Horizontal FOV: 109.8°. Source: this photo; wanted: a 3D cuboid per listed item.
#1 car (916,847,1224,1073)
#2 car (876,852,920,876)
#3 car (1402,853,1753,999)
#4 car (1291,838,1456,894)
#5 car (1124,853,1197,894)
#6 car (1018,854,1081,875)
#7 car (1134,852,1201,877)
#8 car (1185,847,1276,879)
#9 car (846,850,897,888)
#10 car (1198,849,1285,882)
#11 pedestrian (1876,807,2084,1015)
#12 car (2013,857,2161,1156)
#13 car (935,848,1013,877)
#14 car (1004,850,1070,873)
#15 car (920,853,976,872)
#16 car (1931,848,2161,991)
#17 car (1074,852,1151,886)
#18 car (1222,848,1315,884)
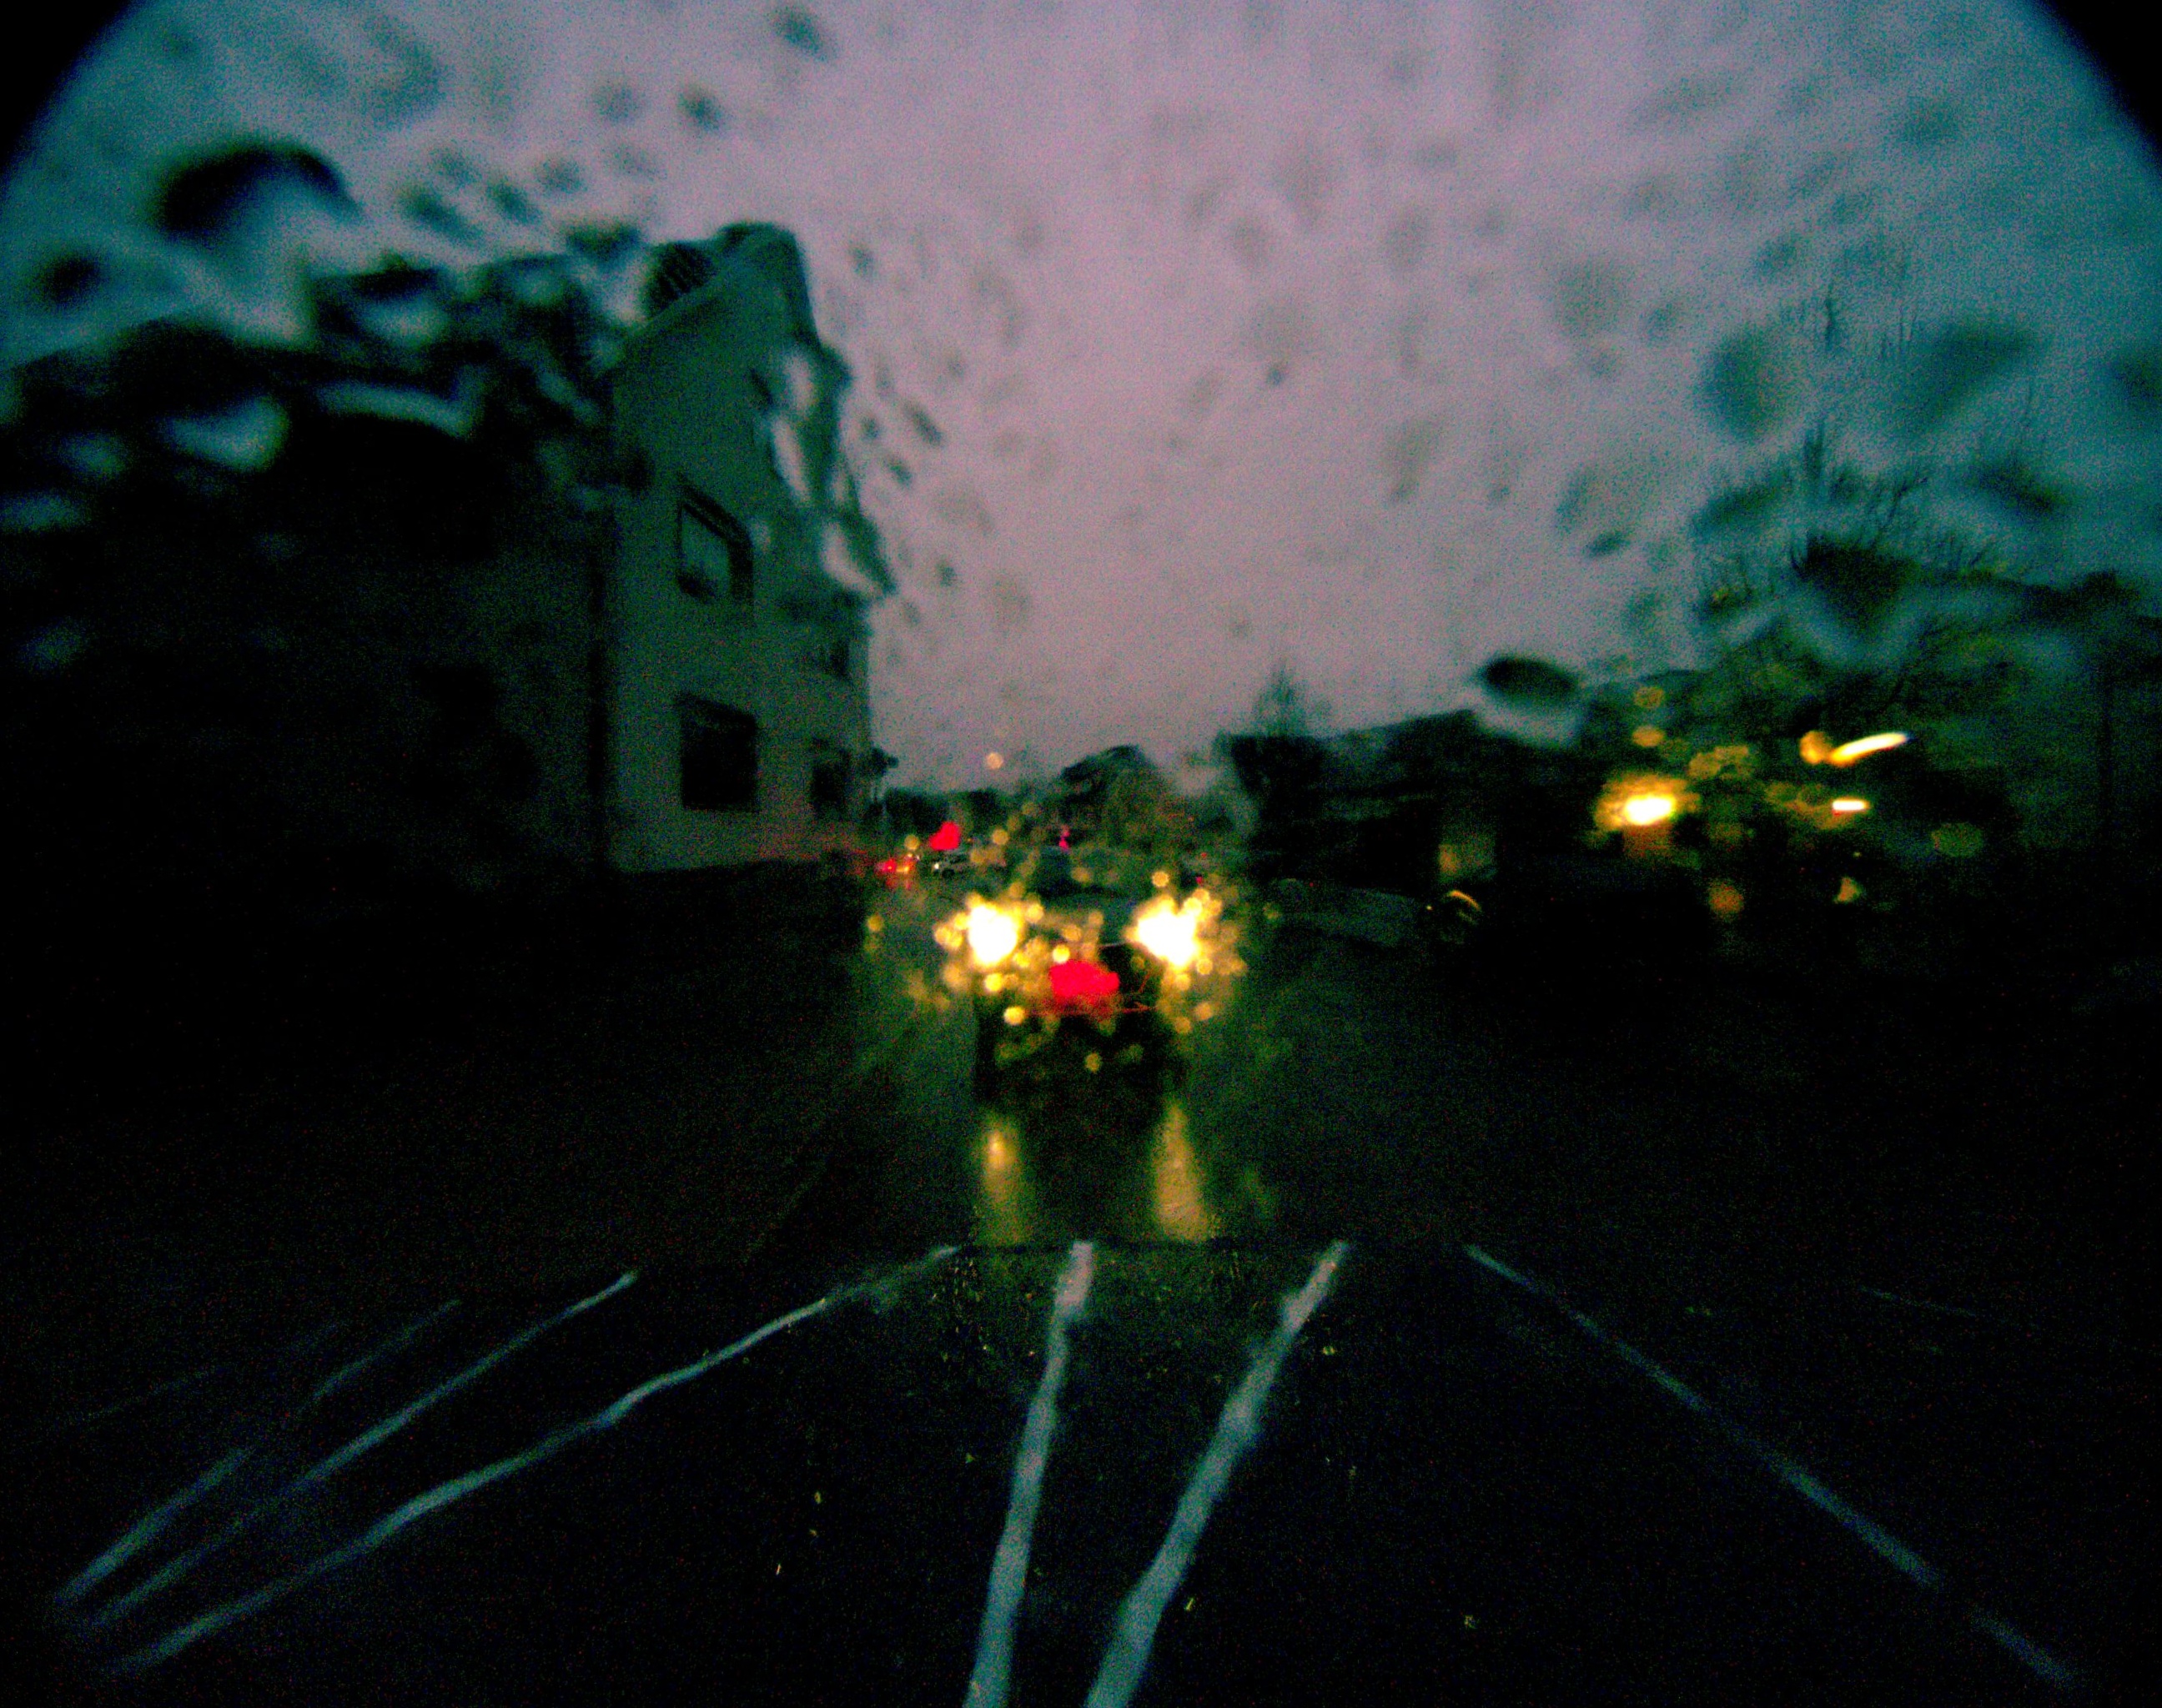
[{"bbox_3d":[-0.190,0.772,8.224,2.270,1.633,5.064,-1,0,-3],"label":"car"},{"bbox_3d":[-14.906,0.793,61.662,2.151,1.850,4.731,-2,1,-30],"label":"car"},{"bbox_3d":[6.211,0.761,10.280,1.751,1.464,4.457,-2,0,-1],"label":"car"},{"bbox_3d":[10.408,0.406,27.470,5.387,1.874,2.076,0,0,16],"label":"car"},{"bbox_3d":[3.180,0.750,30.981,1.840,1.527,3.671,-2,1,-13],"label":"car"},{"bbox_3d":[-2.575,0.894,62.144,4.775,1.625,1.997,1,-1,-21],"label":"car"},{"bbox_3d":[5.343,0.618,47.155,4.069,1.451,1.758,-1,1,4],"label":"car"},{"bbox_3d":[7.888,0.453,40.445,4.649,1.644,1.989,-1,1,9],"label":"car"},{"bbox_3d":[-11.604,0.779,41.875,1.982,1.948,4.842,-1,0,-23],"label":"car"},{"bbox_3d":[7.876,0.553,37.643,4.107,1.573,1.722,0,1,9],"label":"car"},{"bbox_3d":[8.624,0.510,7.350,0.755,1.856,1.060,-1,1,1],"label":"pedestrian"},{"bbox_3d":[6.460,0.784,2.658,1.697,1.507,3.772,-2,0,-2],"label":"car"},{"bbox_3d":[-8.423,0.656,59.724,5.783,1.934,1.988,-2,0,-16],"label":"car"},{"bbox_3d":[-3.314,0.560,57.331,4.456,1.623,2.150,-1,1,-29],"label":"car"},{"bbox_3d":[-12.810,0.813,73.032,4.888,1.674,1.996,-1,-1,-28],"label":"car"},{"bbox_3d":[12.493,0.678,8.190,4.078,1.468,1.742,0,0,23],"label":"car"},{"bbox_3d":[1.459,0.715,37.284,1.913,1.524,4.247,-2,0,-26],"label":"car"},{"bbox_3d":[8.537,0.523,34.803,3.993,1.521,2.002,-1,0,13],"label":"car"}]
